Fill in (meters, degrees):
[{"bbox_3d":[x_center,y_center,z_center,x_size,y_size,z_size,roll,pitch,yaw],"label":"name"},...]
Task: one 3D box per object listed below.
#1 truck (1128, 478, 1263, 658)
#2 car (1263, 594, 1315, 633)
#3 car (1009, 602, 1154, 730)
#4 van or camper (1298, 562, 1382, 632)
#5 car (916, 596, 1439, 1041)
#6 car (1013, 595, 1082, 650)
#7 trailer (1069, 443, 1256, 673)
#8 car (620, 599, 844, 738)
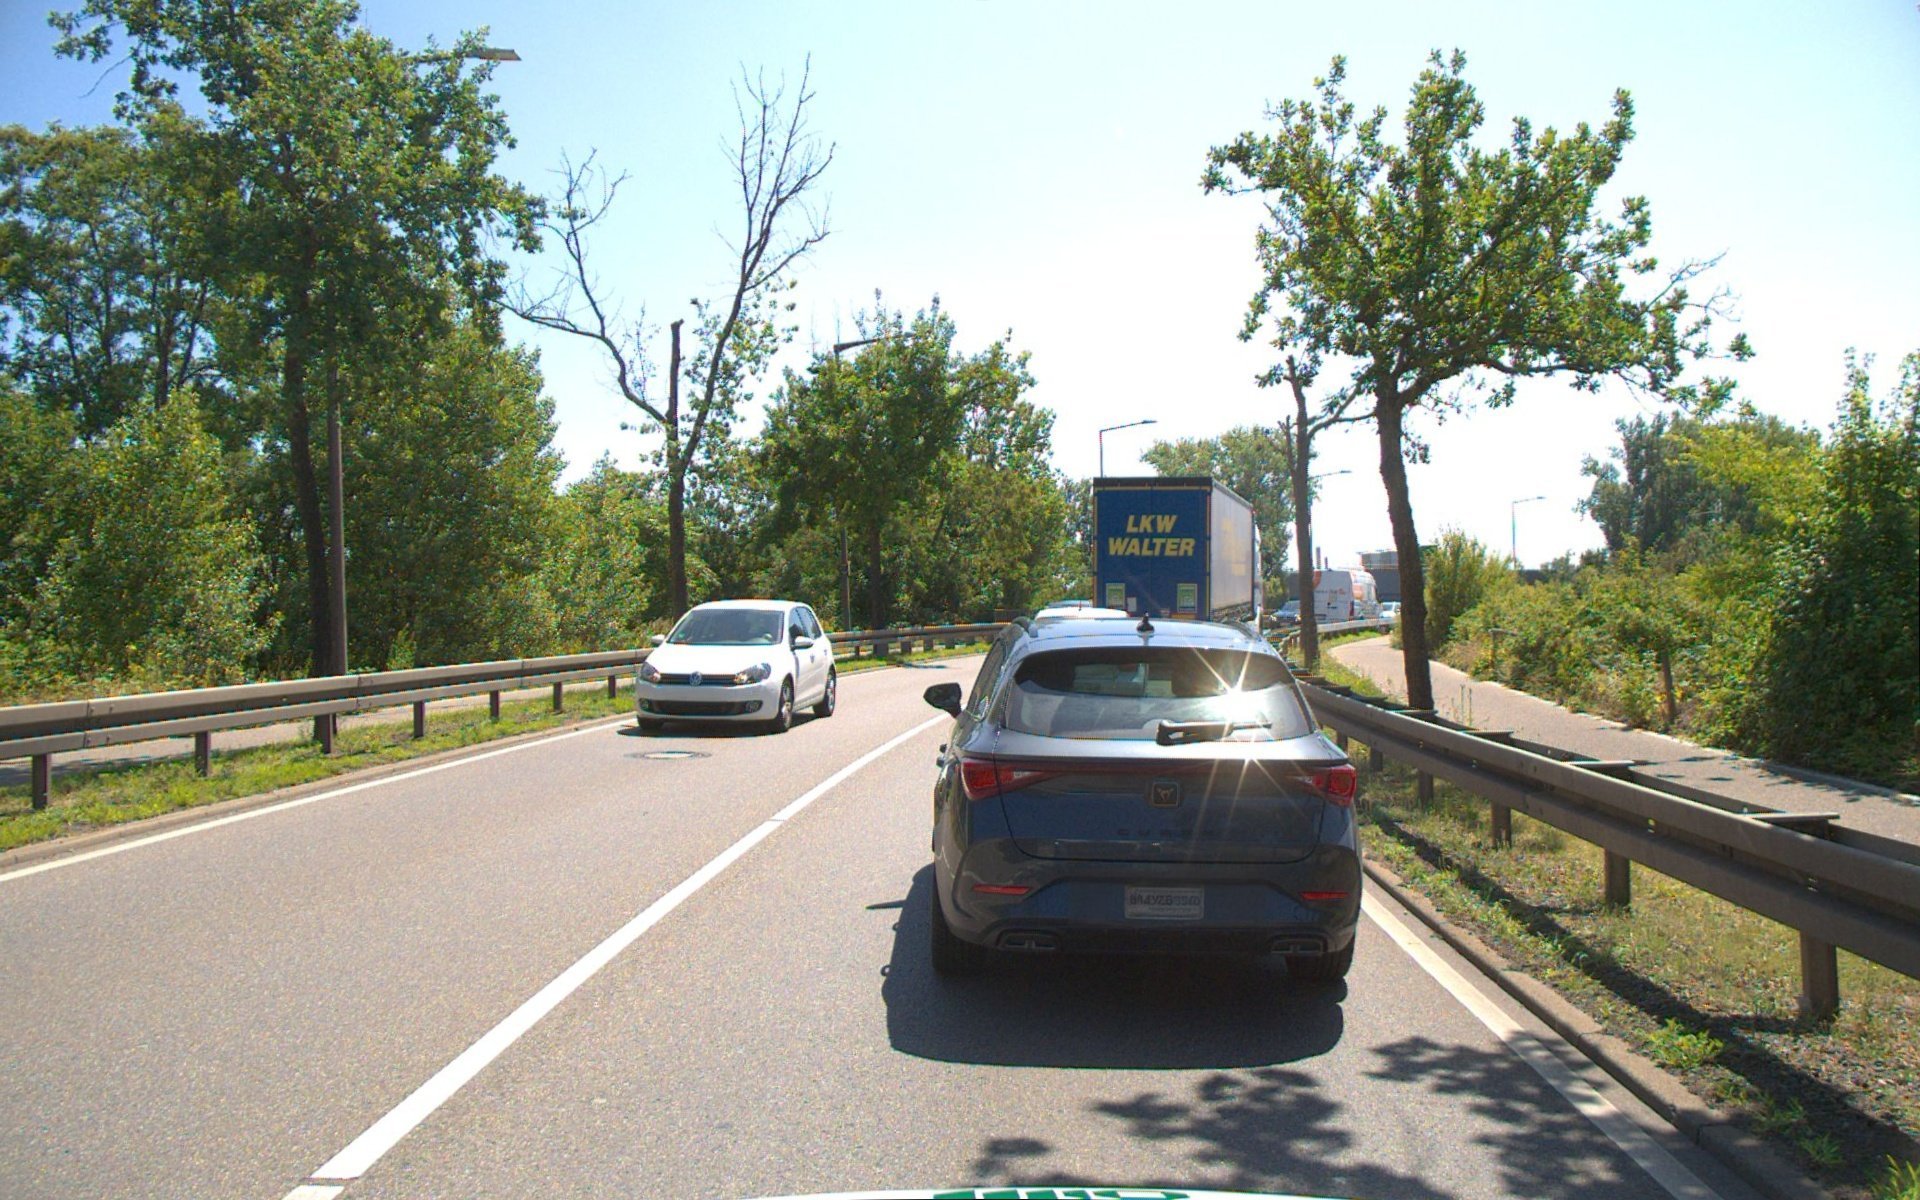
[{"bbox_3d":[6.805,-0.813,46.866,3.102,4.665,7.402,1,0,13],"label":"truck"},{"bbox_3d":[15.269,0.597,76.638,1.711,1.758,3.727,0,0,22],"label":"car"},{"bbox_3d":[1.642,0.780,21.408,1.559,1.486,3.548,1,0,9],"label":"car"},{"bbox_3d":[15.781,-0.125,68.471,2.159,2.758,5.921,0,0,25],"label":"van or camper"},{"bbox_3d":[0.727,0.746,7.579,1.808,1.525,3.757,0,0,-1],"label":"car"},{"bbox_3d":[2.517,0.607,46.657,1.707,1.472,4.520,0,0,6],"label":"car"},{"bbox_3d":[5.275,-0.881,40.389,3.067,4.694,12.958,1,0,13],"label":"trailer"},{"bbox_3d":[-2.634,0.741,20.020,1.688,1.464,4.026,1,0,7],"label":"car"}]
